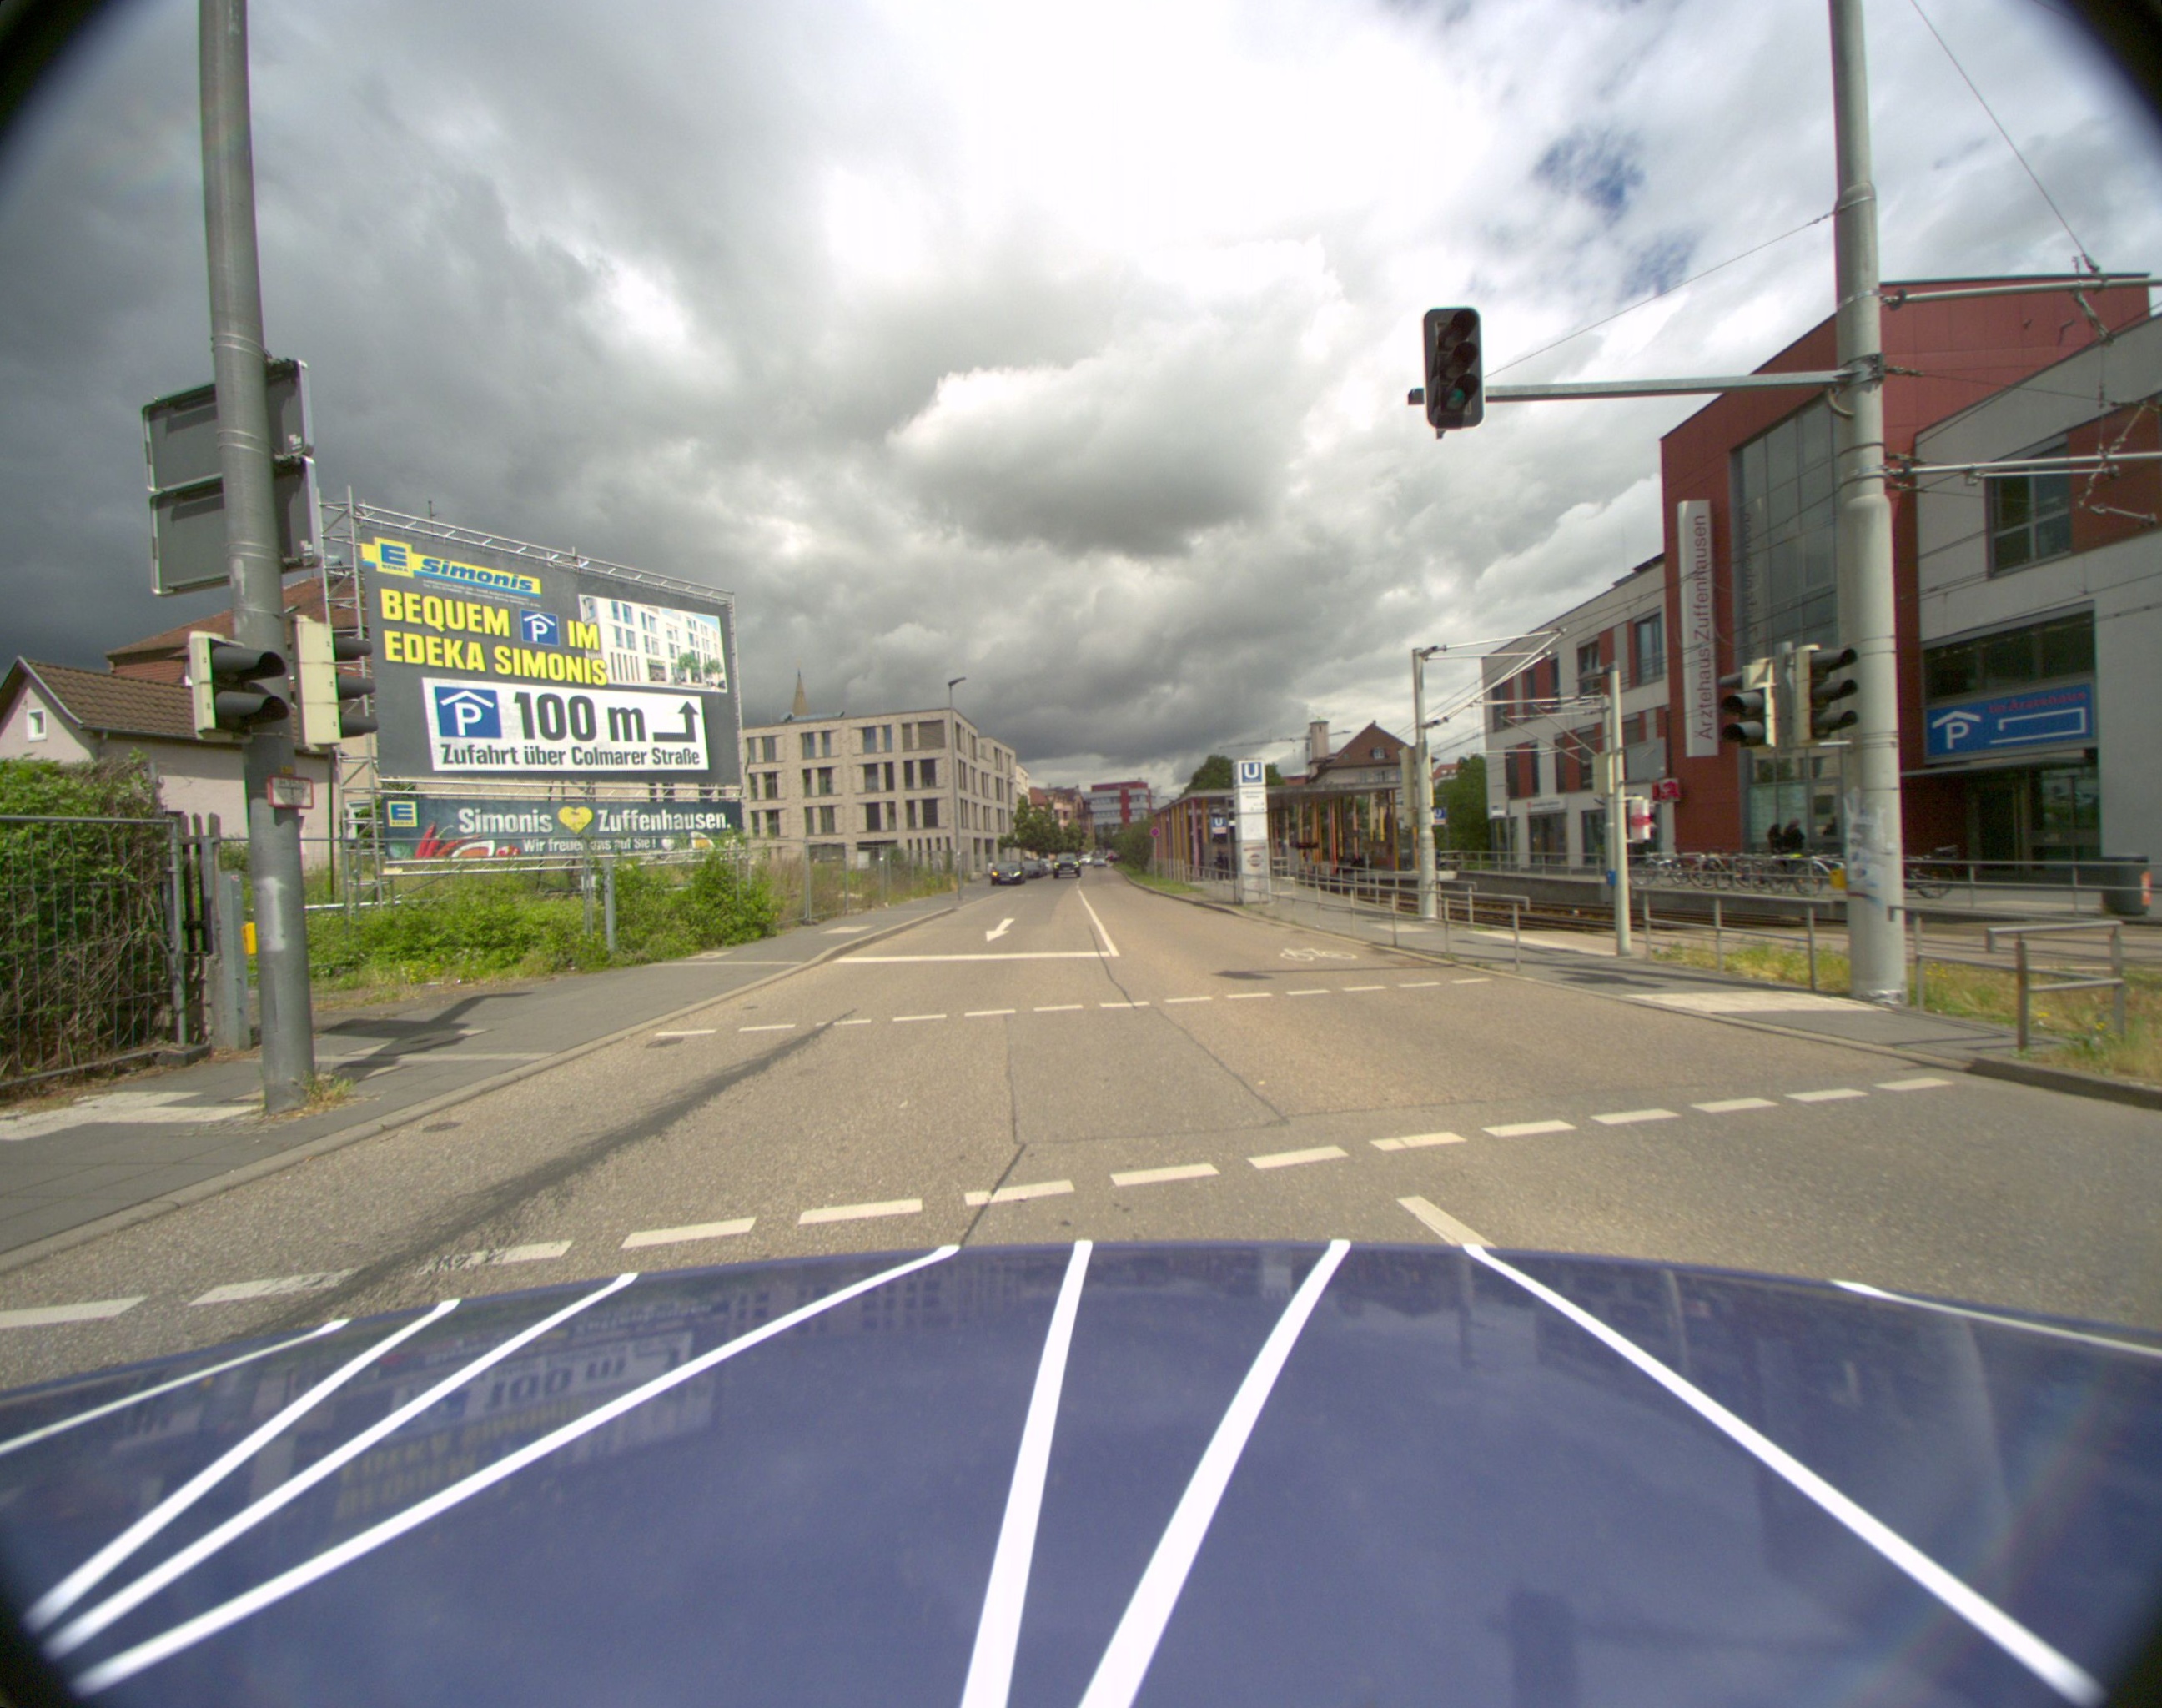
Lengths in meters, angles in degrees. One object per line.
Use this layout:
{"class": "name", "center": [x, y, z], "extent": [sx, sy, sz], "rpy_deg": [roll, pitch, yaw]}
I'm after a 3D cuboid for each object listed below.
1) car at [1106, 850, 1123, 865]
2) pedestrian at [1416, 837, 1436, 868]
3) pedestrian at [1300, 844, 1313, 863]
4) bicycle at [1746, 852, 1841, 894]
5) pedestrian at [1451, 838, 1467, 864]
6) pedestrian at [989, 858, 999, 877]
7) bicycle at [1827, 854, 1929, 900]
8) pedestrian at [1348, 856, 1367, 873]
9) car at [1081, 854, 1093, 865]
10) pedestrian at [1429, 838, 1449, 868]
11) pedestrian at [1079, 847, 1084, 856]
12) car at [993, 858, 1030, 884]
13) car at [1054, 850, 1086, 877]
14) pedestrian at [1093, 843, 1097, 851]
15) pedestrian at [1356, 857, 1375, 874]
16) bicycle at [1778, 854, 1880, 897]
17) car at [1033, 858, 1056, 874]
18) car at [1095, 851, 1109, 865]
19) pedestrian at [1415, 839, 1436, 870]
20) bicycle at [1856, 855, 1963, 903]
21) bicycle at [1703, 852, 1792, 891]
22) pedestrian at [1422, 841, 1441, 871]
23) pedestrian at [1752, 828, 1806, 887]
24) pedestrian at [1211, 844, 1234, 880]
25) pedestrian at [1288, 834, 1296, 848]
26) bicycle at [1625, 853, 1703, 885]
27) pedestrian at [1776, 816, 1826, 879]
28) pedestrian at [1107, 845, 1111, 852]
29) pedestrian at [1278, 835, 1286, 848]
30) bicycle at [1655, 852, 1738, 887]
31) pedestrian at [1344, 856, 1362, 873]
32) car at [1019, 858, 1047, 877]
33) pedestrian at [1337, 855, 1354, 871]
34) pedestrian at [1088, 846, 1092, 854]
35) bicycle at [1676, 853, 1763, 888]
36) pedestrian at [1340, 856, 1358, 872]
{"class": "car", "center": [4.565, 0.435, 103.324], "extent": [1.997, 2.002, 4.002], "rpy_deg": [-1, 0, 7]}
{"class": "pedestrian", "center": [22.307, -0.113, 49.178], "extent": [0.863, 1.957, 1.106], "rpy_deg": [-1, 1, 6]}
{"class": "pedestrian", "center": [23.968, -0.089, 80.735], "extent": [1.127, 2.002, 1.179], "rpy_deg": [-1, 0, 6]}
{"class": "bicycle", "center": [17.706, 0.468, 18.896], "extent": [1.862, 0.957, 0.454], "rpy_deg": [-2, 1, 3]}
{"class": "pedestrian", "center": [28.641, -0.212, 57.573], "extent": [1.103, 1.957, 0.866], "rpy_deg": [0, 2, 25]}
{"class": "pedestrian", "center": [-6.975, 1.043, 60.752], "extent": [0.673, 1.503, 0.782], "rpy_deg": [-2, 0, 1]}
{"class": "bicycle", "center": [17.734, 0.518, 16.925], "extent": [1.739, 0.952, 0.428], "rpy_deg": [-2, 1, 3]}
{"class": "pedestrian", "center": [19.124, 0.737, 52.564], "extent": [0.943, 1.128, 0.886], "rpy_deg": [-2, 0, 2]}
{"class": "car", "center": [0.950, 0.796, 113.228], "extent": [1.719, 1.541, 3.793], "rpy_deg": [-1, 0, 1]}
{"class": "pedestrian", "center": [23.116, -0.072, 49.091], "extent": [0.863, 1.957, 1.106], "rpy_deg": [-1, 1, 6]}
{"class": "pedestrian", "center": [0.125, -0.448, 132.584], "extent": [0.673, 1.503, 0.783], "rpy_deg": [-1, 0, 16]}
{"class": "car", "center": [-4.177, 1.006, 45.903], "extent": [1.677, 1.415, 3.795], "rpy_deg": [-1, 1, 3]}
{"class": "car", "center": [-0.803, 0.660, 58.017], "extent": [2.003, 1.876, 5.151], "rpy_deg": [-1, 1, 4]}
{"class": "pedestrian", "center": [2.681, -1.301, 147.526], "extent": [0.673, 1.503, 0.783], "rpy_deg": [-2, 0, 3]}
{"class": "pedestrian", "center": [19.318, 0.750, 51.608], "extent": [0.943, 1.128, 0.886], "rpy_deg": [-2, 0, 2]}
{"class": "bicycle", "center": [17.668, 0.499, 17.964], "extent": [1.862, 0.930, 0.454], "rpy_deg": [-2, 1, 3]}
{"class": "car", "center": [-3.225, 1.044, 67.805], "extent": [1.677, 1.299, 3.795], "rpy_deg": [-1, 1, 3]}
{"class": "car", "center": [2.667, 0.484, 96.597], "extent": [1.588, 1.528, 3.946], "rpy_deg": [-5, 1, 1]}
{"class": "pedestrian", "center": [22.300, 0.015, 49.237], "extent": [0.864, 1.957, 1.105], "rpy_deg": [-1, 1, -1]}
{"class": "bicycle", "center": [17.745, 0.531, 16.292], "extent": [1.739, 0.947, 0.428], "rpy_deg": [-2, 1, 3]}
{"class": "bicycle", "center": [17.574, 0.460, 20.048], "extent": [1.861, 0.934, 0.454], "rpy_deg": [-2, 1, 5]}
{"class": "pedestrian", "center": [23.429, 0.100, 50.775], "extent": [0.863, 1.957, 1.106], "rpy_deg": [-1, 1, 6]}
{"class": "pedestrian", "center": [20.800, 0.094, 22.662], "extent": [0.789, 1.688, 0.934], "rpy_deg": [-2, 2, -21]}
{"class": "pedestrian", "center": [7.746, 0.438, 41.579], "extent": [1.105, 1.903, 0.864], "rpy_deg": [-1, 2, 2]}
{"class": "pedestrian", "center": [31.382, -1.955, 112.955], "extent": [1.125, 2.002, 1.662], "rpy_deg": [-1, 0, 15]}
{"class": "bicycle", "center": [17.560, 0.454, 22.906], "extent": [1.861, 0.876, 0.455], "rpy_deg": [-2, 1, 9]}
{"class": "pedestrian", "center": [22.038, -0.206, 23.262], "extent": [0.881, 1.835, 0.862], "rpy_deg": [-4, 3, -27]}
{"class": "pedestrian", "center": [6.013, -1.188, 160.975], "extent": [0.673, 1.503, 0.783], "rpy_deg": [-1, 0, 11]}
{"class": "pedestrian", "center": [31.154, -1.888, 117.653], "extent": [1.127, 2.002, 0.816], "rpy_deg": [-1, 0, 6]}
{"class": "bicycle", "center": [17.618, 0.440, 21.778], "extent": [1.861, 0.927, 0.455], "rpy_deg": [-2, 1, 9]}
{"class": "pedestrian", "center": [19.140, 0.719, 53.522], "extent": [0.943, 1.128, 0.886], "rpy_deg": [-2, 0, 2]}
{"class": "car", "center": [-3.742, 1.036, 59.902], "extent": [1.677, 1.367, 3.795], "rpy_deg": [-2, 0, 3]}
{"class": "pedestrian", "center": [19.348, 0.639, 55.611], "extent": [0.943, 1.128, 0.886], "rpy_deg": [-2, 0, 2]}
{"class": "pedestrian", "center": [1.821, -0.745, 147.870], "extent": [0.673, 1.503, 0.783], "rpy_deg": [-2, 0, 3]}
{"class": "bicycle", "center": [17.592, 0.454, 20.949], "extent": [1.861, 0.917, 0.455], "rpy_deg": [-2, 1, 8]}
{"class": "pedestrian", "center": [19.238, 0.700, 54.512], "extent": [0.943, 1.128, 0.886], "rpy_deg": [-2, 0, 2]}
